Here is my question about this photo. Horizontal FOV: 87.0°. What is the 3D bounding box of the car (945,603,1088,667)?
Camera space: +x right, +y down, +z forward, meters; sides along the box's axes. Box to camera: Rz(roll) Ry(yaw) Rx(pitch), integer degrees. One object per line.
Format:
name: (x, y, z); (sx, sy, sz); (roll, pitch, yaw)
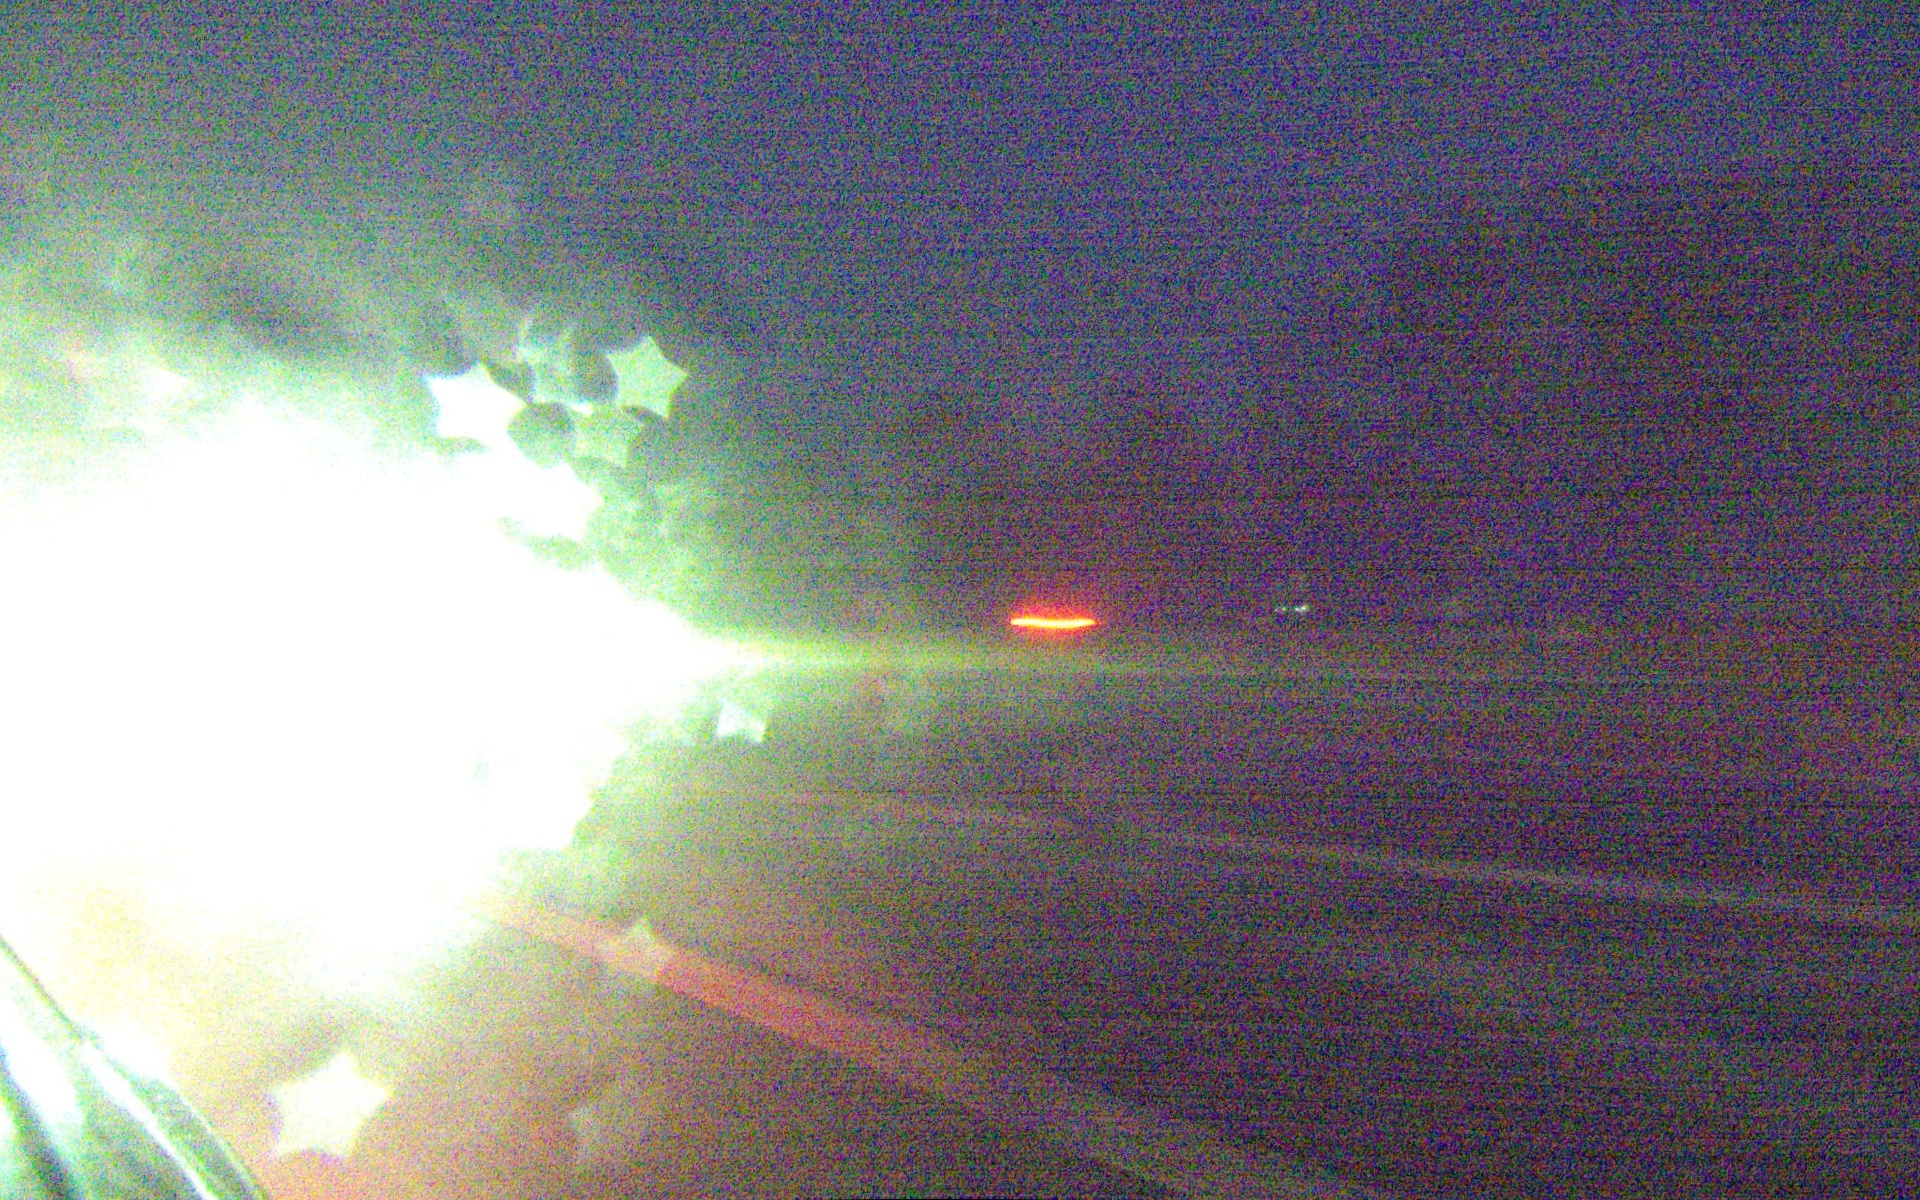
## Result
car: (1.734, 1.047, 31.433); (3.987, 1.821, 1.889); (-1, 1, 32)

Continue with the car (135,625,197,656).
car: (-51.023, 2.589, 65.039); (3.987, 1.821, 1.889); (-1, 1, 32)

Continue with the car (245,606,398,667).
car: (-18.498, 1.023, 29.285); (4.573, 1.572, 1.978); (-1, 1, 33)
